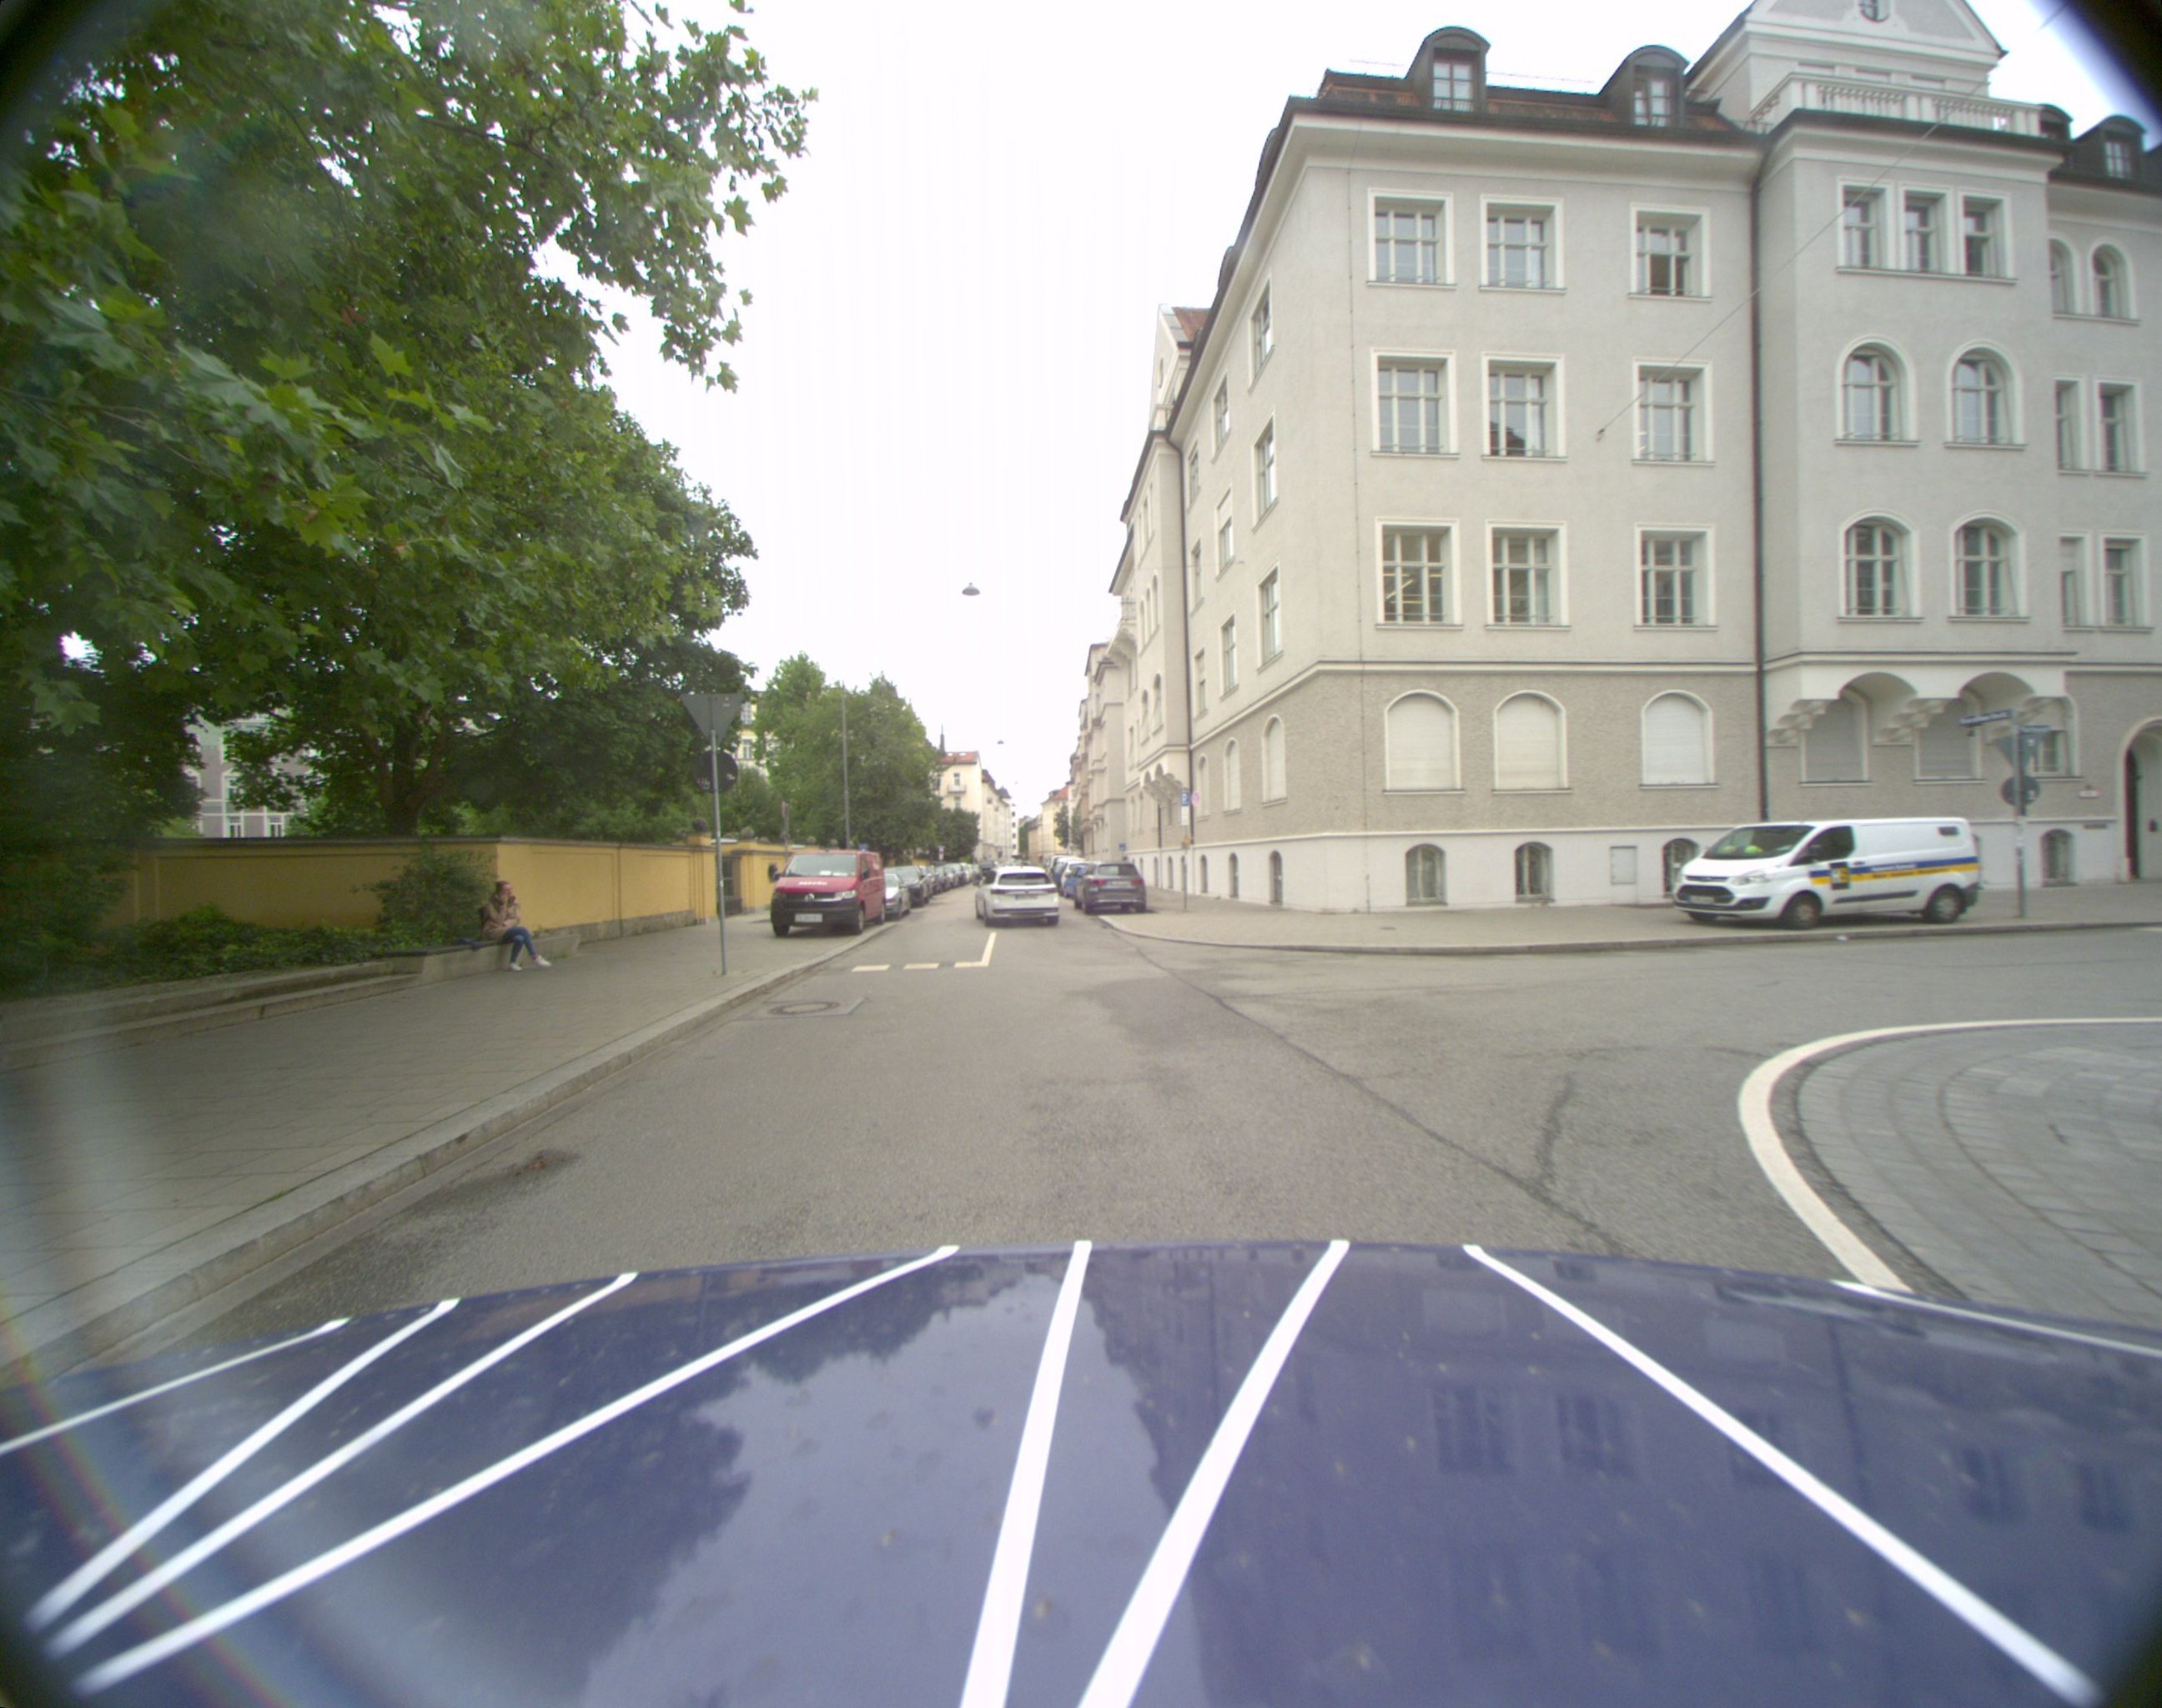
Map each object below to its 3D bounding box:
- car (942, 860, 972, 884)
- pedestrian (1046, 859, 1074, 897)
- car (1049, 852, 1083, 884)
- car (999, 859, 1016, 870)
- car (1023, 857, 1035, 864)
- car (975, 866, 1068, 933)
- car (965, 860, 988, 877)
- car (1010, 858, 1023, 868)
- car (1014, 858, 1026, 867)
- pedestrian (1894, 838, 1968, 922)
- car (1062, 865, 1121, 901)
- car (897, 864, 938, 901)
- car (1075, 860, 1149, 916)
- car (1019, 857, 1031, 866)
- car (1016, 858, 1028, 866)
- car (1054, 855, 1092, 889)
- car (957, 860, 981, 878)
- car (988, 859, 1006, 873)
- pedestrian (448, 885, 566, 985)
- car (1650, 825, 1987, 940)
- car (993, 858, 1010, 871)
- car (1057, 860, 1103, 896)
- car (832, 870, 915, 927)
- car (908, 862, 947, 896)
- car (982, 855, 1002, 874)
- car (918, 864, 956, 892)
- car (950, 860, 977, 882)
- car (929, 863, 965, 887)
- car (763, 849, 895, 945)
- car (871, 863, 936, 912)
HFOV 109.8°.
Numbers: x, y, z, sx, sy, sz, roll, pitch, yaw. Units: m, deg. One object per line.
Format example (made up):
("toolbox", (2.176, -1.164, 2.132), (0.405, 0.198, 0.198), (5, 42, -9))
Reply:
("car", (-8.817, 1.237, 54.306), (1.718, 1.561, 4.689), (-1, 0, -4))
("pedestrian", (-0.974, 1.122, 35.448), (0.874, 1.745, 0.966), (-1, 0, 27))
("car", (-1.031, 0.873, 48.473), (1.861, 1.927, 4.955), (0, 0, -5))
("car", (-11.020, 1.583, 114.203), (1.999, 1.585, 4.298), (-5, 0, -1))
("car", (-11.913, 1.523, 174.833), (1.998, 1.585, 4.300), (-5, 0, 3))
("car", (-1.703, 1.075, 19.869), (1.891, 1.440, 4.887), (-2, 0, -10))
("car", (-9.479, 1.307, 69.057), (1.718, 1.445, 4.953), (-1, 0, -4))
("car", (-11.841, 1.692, 139.043), (1.999, 1.585, 4.298), (-5, 0, -1))
("car", (-11.959, 1.664, 149.774), (1.999, 1.585, 4.298), (-5, 0, -1))
("pedestrian", (17.179, 0.512, 15.363), (0.734, 1.626, 0.853), (-2, 1, -29))
("car", (0.393, 1.165, 31.894), (1.698, 1.406, 3.659), (0, 0, -12))
("car", (-7.461, 1.263, 34.909), (1.489, 1.530, 3.690), (-3, 0, -7))
("car", (0.889, 1.009, 24.452), (1.752, 1.593, 4.494), (0, 0, -6))
("car", (-12.071, 1.641, 164.512), (1.998, 1.672, 4.299), (-5, 0, 1))
("car", (-12.312, 1.670, 159.364), (1.999, 1.585, 4.298), (-5, 0, -1))
("car", (-0.528, 0.936, 42.334), (1.752, 1.778, 5.034), (0, 0, -5))
("car", (-9.428, 1.235, 64.303), (1.718, 1.445, 4.182), (-1, 0, -4))
("car", (-10.664, 1.498, 97.037), (1.999, 1.643, 4.447), (-5, 0, -4))
("pedestrian", (-8.278, 1.147, 11.010), (1.012, 1.330, 0.876), (-1, 0, -2))
("car", (13.756, 0.485, 14.307), (4.911, 1.869, 1.924), (-1, 0, -8))
("car", (-10.608, 1.438, 102.001), (1.999, 1.585, 4.297), (-5, 0, -4))
("car", (-0.112, 1.094, 36.549), (1.752, 1.593, 4.494), (0, 0, -6))
("car", (-6.424, 1.322, 23.982), (1.890, 1.440, 4.366), (-3, 0, -8))
("car", (-7.908, 1.266, 39.316), (1.512, 1.557, 2.868), (-3, 0, -4))
("car", (-10.150, 1.234, 86.867), (1.999, 1.949, 4.432), (-5, 0, -4))
("car", (-8.170, 1.322, 43.307), (1.697, 1.406, 4.034), (-3, 0, -6))
("car", (-9.169, 1.289, 59.523), (1.718, 1.561, 4.318), (-1, 0, -4))
("car", (-8.466, 1.310, 48.284), (1.697, 1.406, 4.514), (-1, 0, -4))
("car", (-5.846, 0.910, 18.279), (1.879, 1.909, 4.885), (-3, 0, -6))
("car", (-6.915, 1.248, 30.057), (1.890, 1.643, 4.821), (-3, 0, -7))
